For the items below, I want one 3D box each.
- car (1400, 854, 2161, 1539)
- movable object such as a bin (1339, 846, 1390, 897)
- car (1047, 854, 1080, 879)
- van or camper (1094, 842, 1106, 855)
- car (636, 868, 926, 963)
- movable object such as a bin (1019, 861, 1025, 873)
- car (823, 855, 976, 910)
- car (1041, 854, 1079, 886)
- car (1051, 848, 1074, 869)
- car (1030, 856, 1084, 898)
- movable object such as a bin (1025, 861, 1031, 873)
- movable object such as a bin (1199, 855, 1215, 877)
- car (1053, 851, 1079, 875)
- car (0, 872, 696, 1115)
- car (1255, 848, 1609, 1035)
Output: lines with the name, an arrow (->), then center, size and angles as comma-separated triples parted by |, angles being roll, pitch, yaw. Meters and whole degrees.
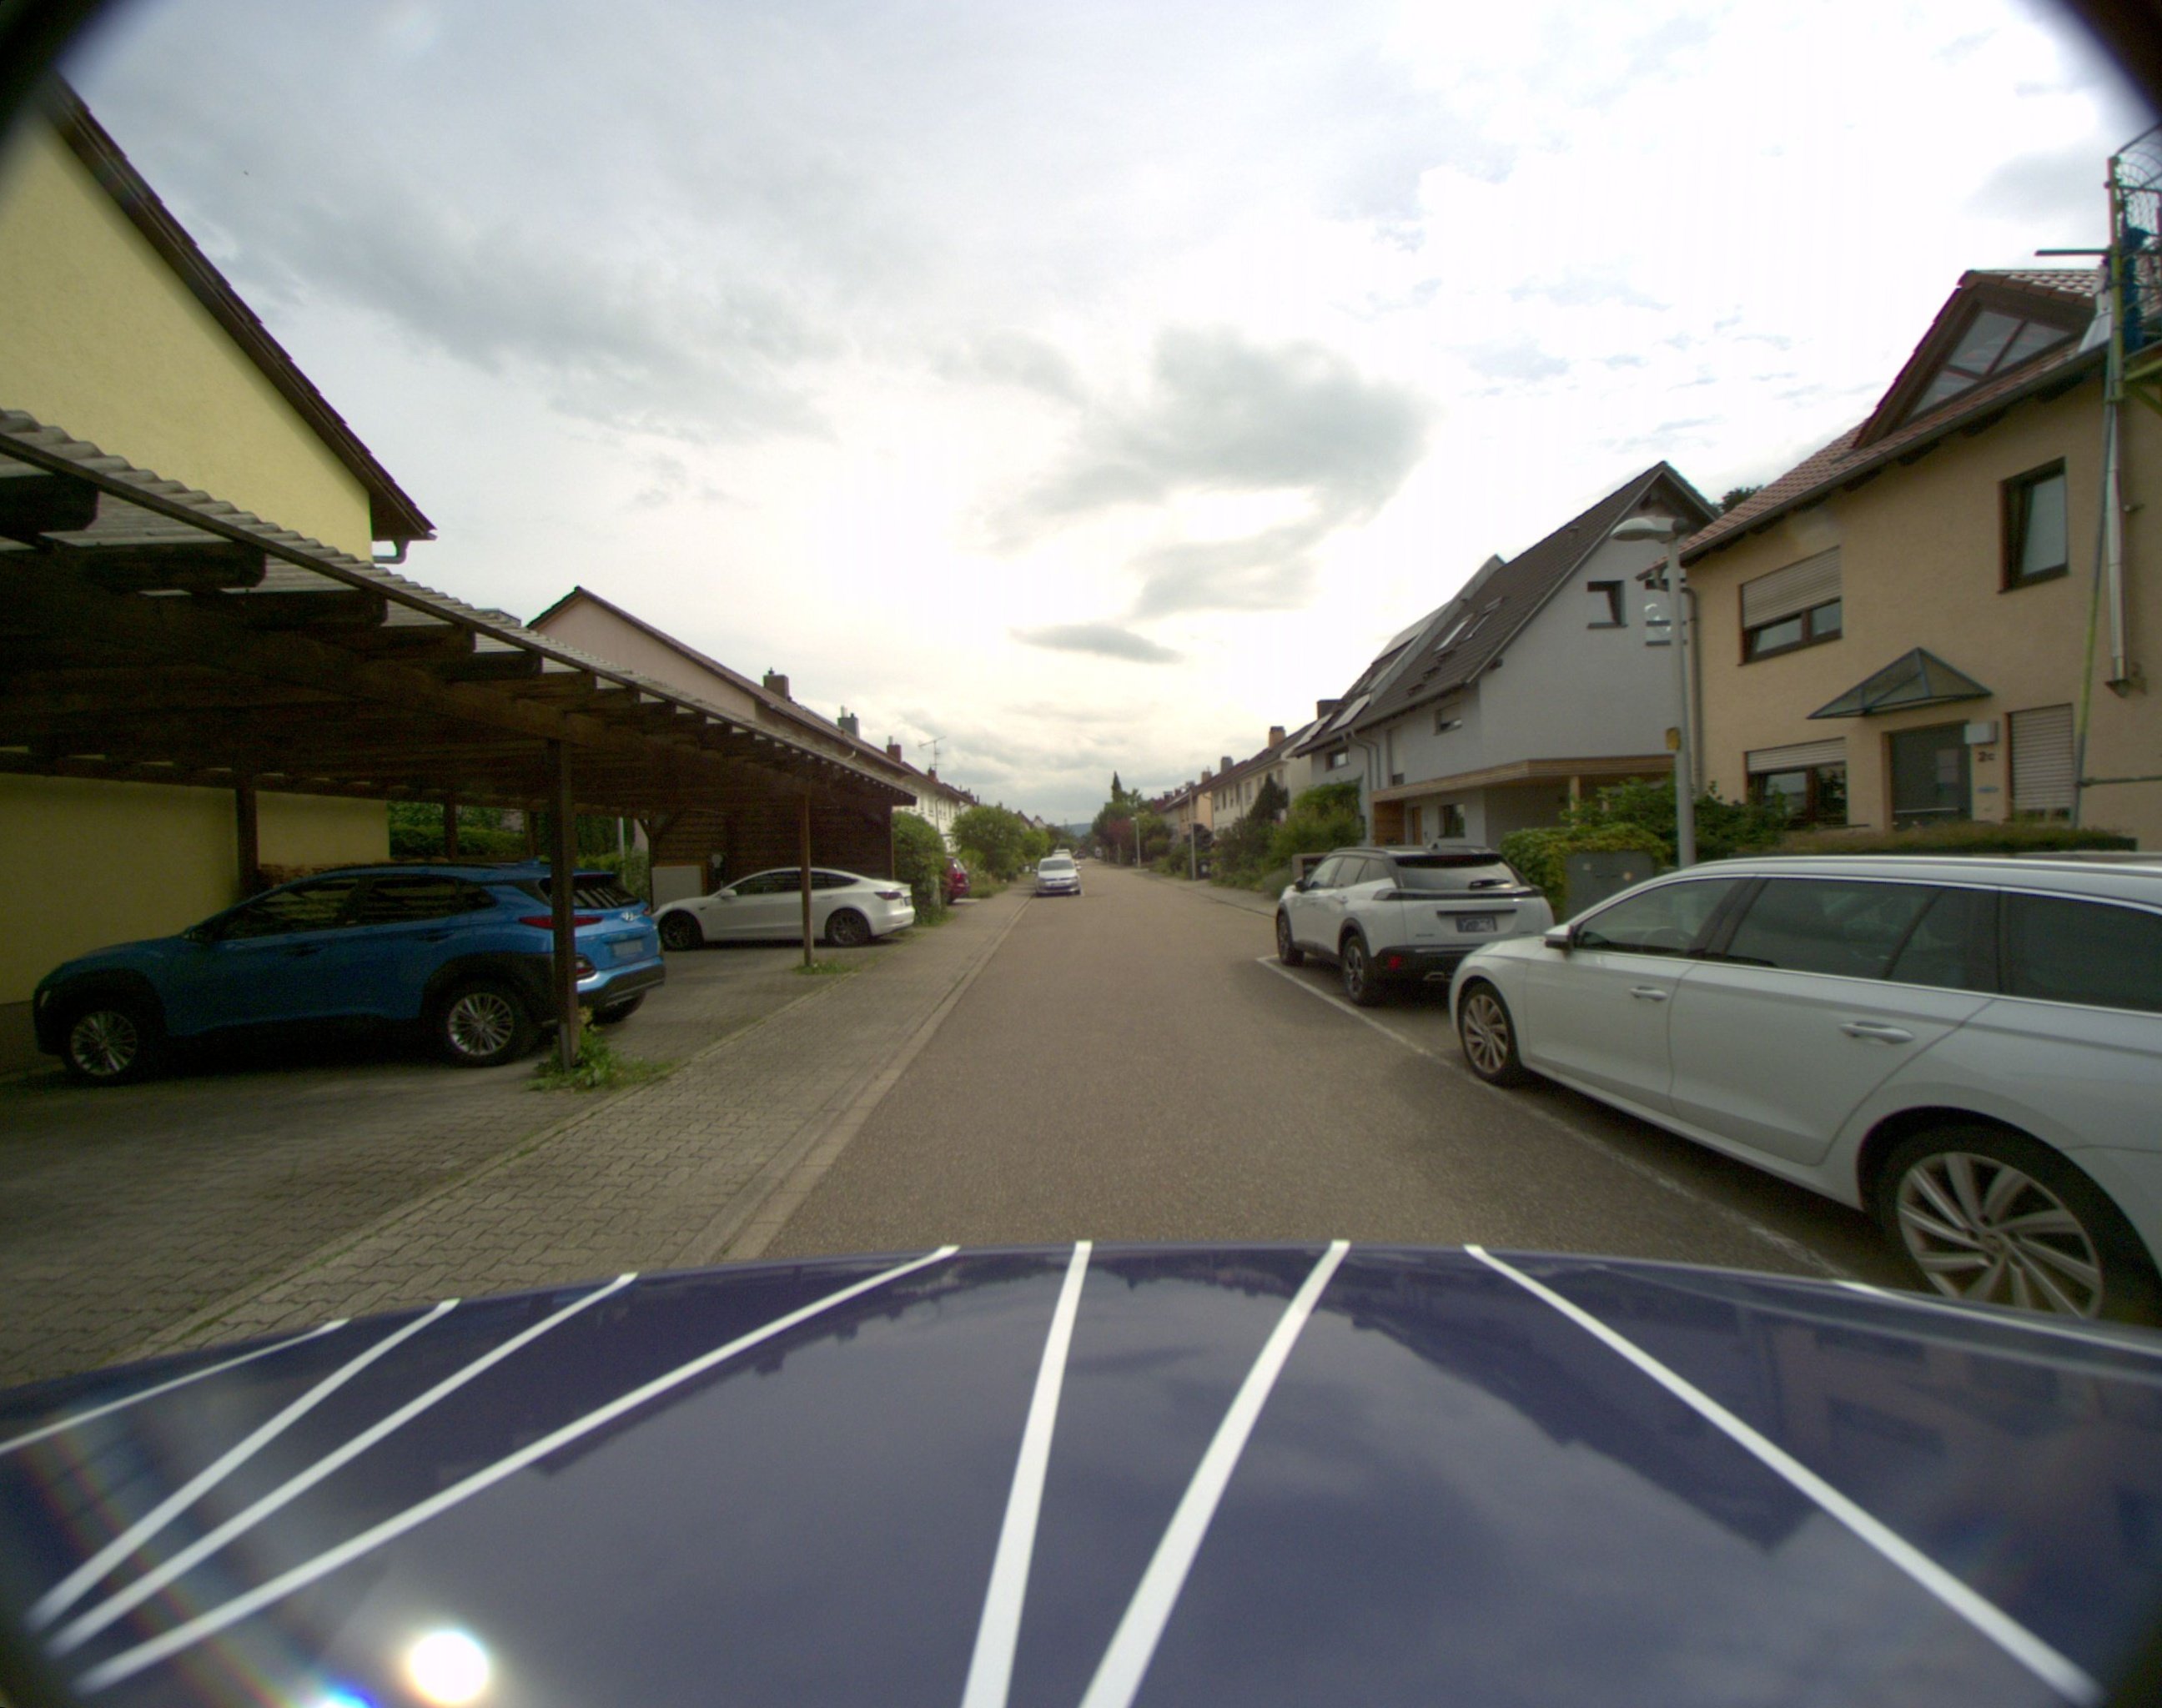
car -> 3.418, 0.814, 3.437 | 1.815, 1.553, 4.847 | -2, 0, -1
movable object such as a bin -> 7.551, 0.452, 20.271 | 0.952, 1.304, 1.000 | -2, 1, -2
car -> -1.110, 0.722, 46.032 | 1.843, 1.404, 4.635 | -2, 0, -3
van or camper -> 4.155, -1.149, 167.268 | 2.346, 2.719, 5.747 | -3, 0, 0
car -> -5.285, 1.054, 13.922 | 4.462, 1.424, 2.026 | -2, 0, -3
movable object such as a bin -> -4.750, 1.045, 60.985 | 0.432, 0.916, 0.465 | -4, 1, -6
car -> -5.583, 0.858, 23.821 | 4.281, 1.551, 1.934 | -2, 1, 0
car -> -1.046, 0.805, 40.019 | 1.778, 1.427, 4.825 | -4, 1, -1
car -> -1.777, 0.400, 73.223 | 2.026, 1.936, 4.746 | -2, 0, -3
car -> -0.983, 0.840, 29.688 | 1.870, 1.408, 4.251 | -3, 0, -3
movable object such as a bin -> -4.258, 1.026, 60.956 | 0.408, 0.916, 0.421 | -2, 1, -6
movable object such as a bin -> 6.069, 0.577, 36.582 | 0.603, 1.021, 0.665 | -2, 1, 0
car -> -1.100, 0.597, 54.666 | 1.718, 1.535, 3.972 | -4, 0, -2
car -> -5.788, 1.003, 6.374 | 4.057, 1.514, 1.949 | -2, 0, -3
car -> 3.545, 0.743, 8.836 | 1.939, 1.547, 4.634 | -2, 0, 0
